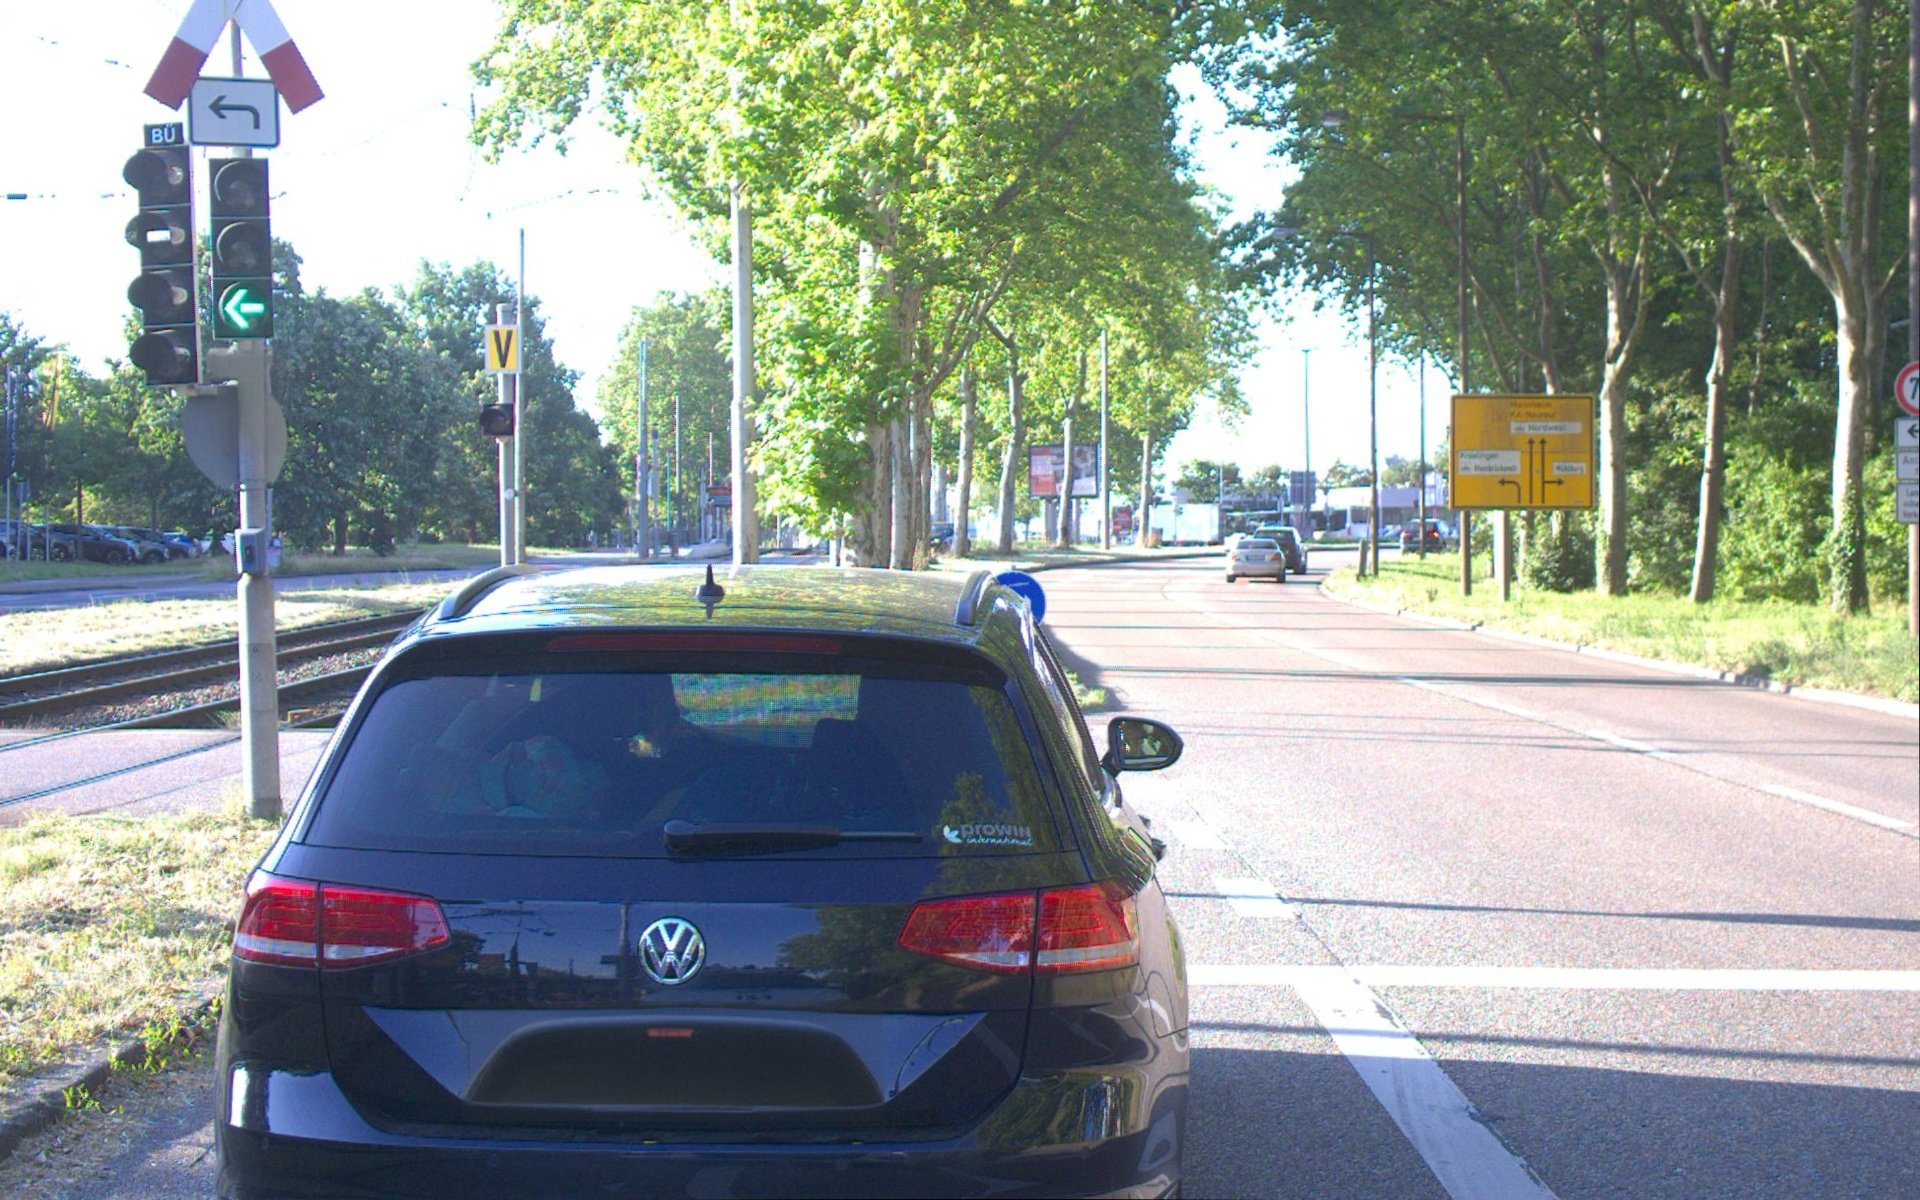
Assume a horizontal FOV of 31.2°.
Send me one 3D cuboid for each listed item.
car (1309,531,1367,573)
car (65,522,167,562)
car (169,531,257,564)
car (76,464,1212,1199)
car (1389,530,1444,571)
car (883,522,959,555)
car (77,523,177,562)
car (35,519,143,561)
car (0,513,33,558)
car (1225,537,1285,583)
[{"bbox_3d":[21.549,-2.742,195.692,2.097,2.313,5.847,1,1,18],"label":"car"},{"bbox_3d":[-35.810,-2.464,145.913,3.986,1.615,1.744,1,1,-5],"label":"car"},{"bbox_3d":[-36.492,-2.556,167.989,3.986,1.550,1.744,1,1,-4],"label":"car"},{"bbox_3d":[-0.537,0.496,7.277,1.795,1.459,3.583,1,1,-1],"label":"car"},{"bbox_3d":[19.727,-2.116,148.516,1.873,1.629,4.367,4,1,13],"label":"car"},{"bbox_3d":[-1.705,-2.701,150.775,1.996,1.415,3.996,1,1,20],"label":"car"},{"bbox_3d":[-36.103,-2.483,149.076,3.986,1.615,1.744,1,1,-5],"label":"car"},{"bbox_3d":[-35.153,-2.422,138.757,3.986,1.615,1.744,1,1,-5],"label":"car"},{"bbox_3d":[-35.905,-2.371,125.008,3.986,1.615,1.744,1,1,-5],"label":"car"},{"bbox_3d":[8.733,-1.196,102.063,1.609,1.290,3.983,1,1,3],"label":"car"}]
